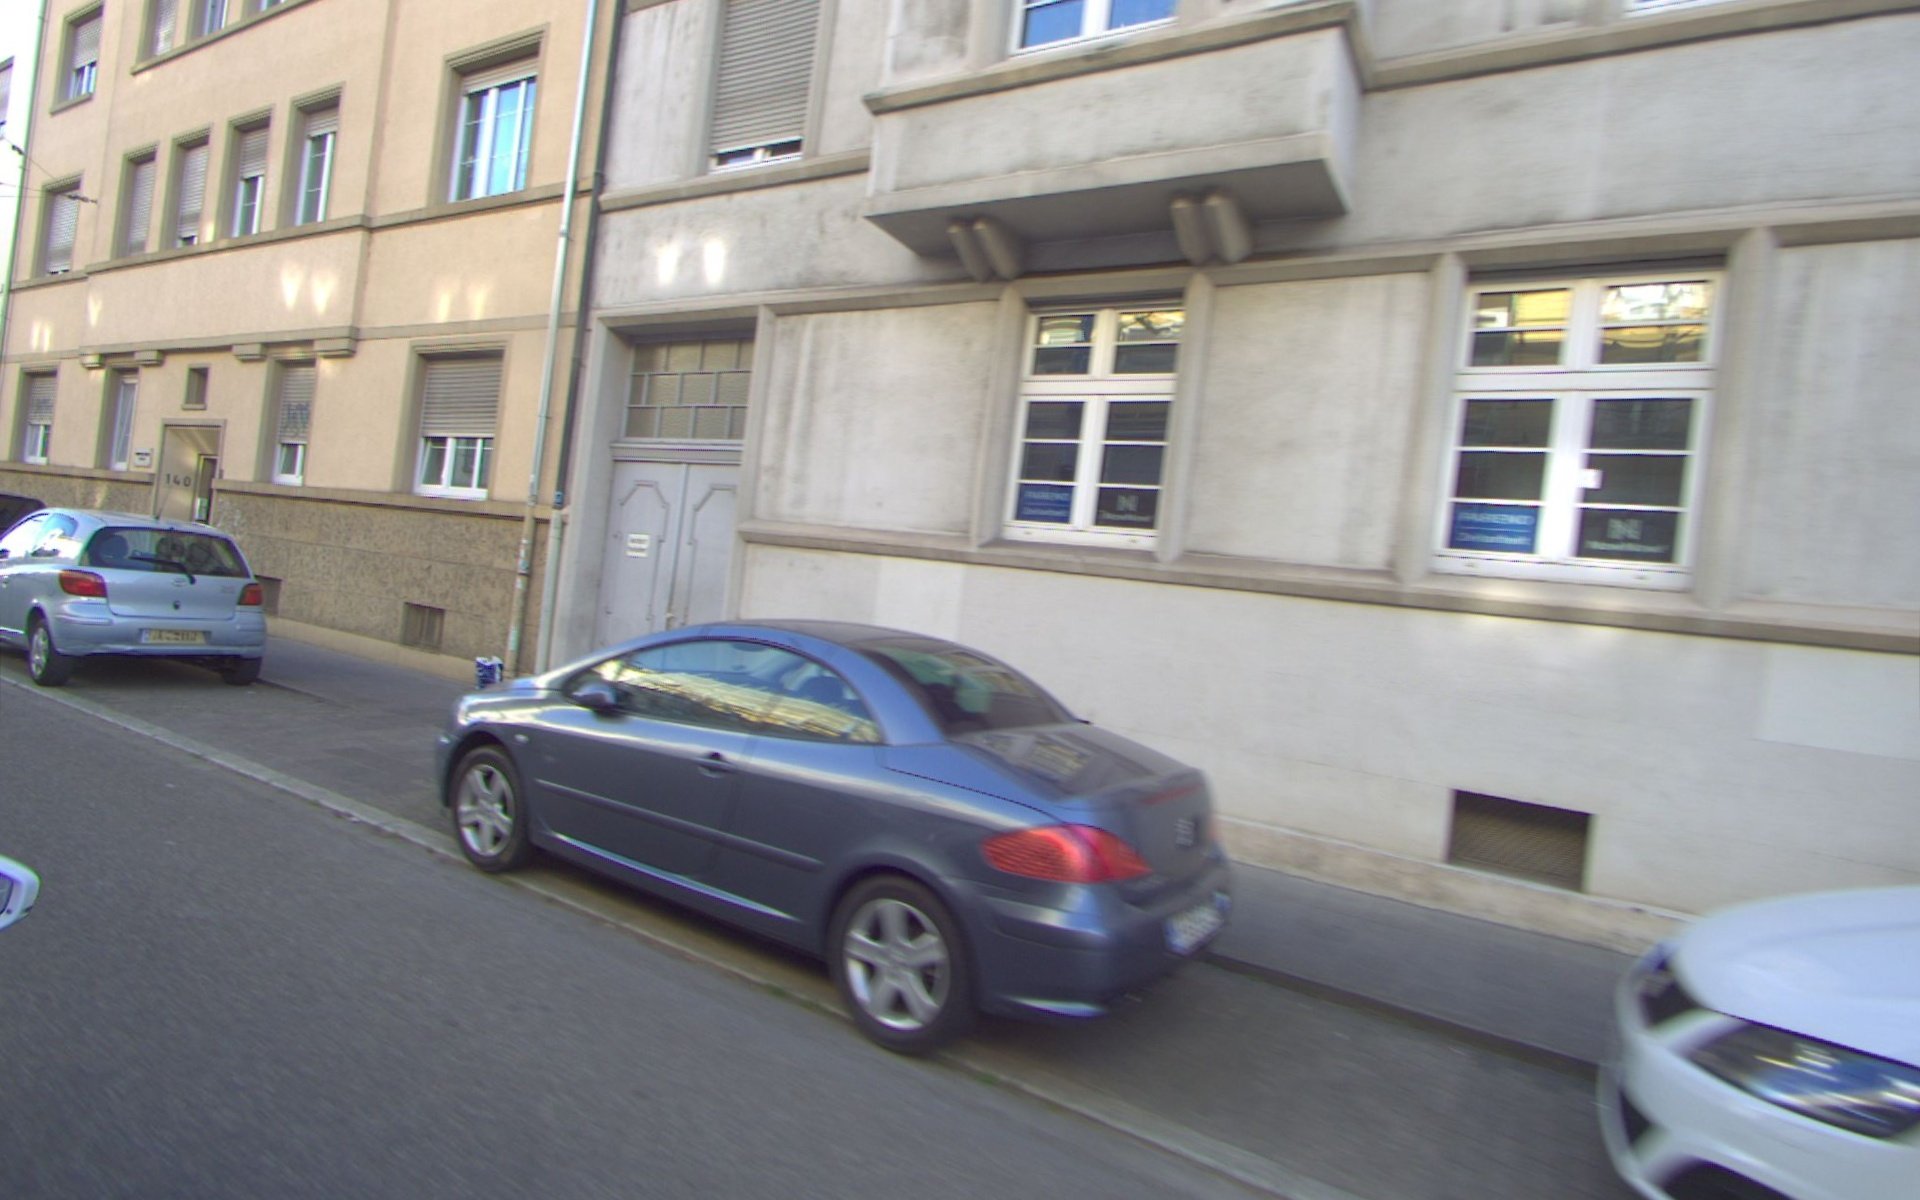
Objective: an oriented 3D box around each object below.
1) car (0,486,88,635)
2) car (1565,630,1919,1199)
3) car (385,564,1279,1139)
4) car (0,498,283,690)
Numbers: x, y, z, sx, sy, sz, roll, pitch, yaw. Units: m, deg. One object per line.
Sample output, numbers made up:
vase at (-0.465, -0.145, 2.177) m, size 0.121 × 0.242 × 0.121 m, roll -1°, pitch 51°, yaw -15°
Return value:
car at (-12.880, -0.678, 12.437) m, size 4.292 × 1.672 × 1.792 m, roll 7°, pitch 0°, yaw 30°
car at (3.928, 1.196, 1.986) m, size 4.513 × 1.714 × 1.710 m, roll 7°, pitch 0°, yaw 31°
car at (-0.822, 0.793, 4.945) m, size 4.138 × 1.470 × 1.700 m, roll 7°, pitch 0°, yaw 33°
car at (-8.315, -0.120, 9.723) m, size 3.422 × 1.481 × 1.610 m, roll 7°, pitch 0°, yaw 32°
